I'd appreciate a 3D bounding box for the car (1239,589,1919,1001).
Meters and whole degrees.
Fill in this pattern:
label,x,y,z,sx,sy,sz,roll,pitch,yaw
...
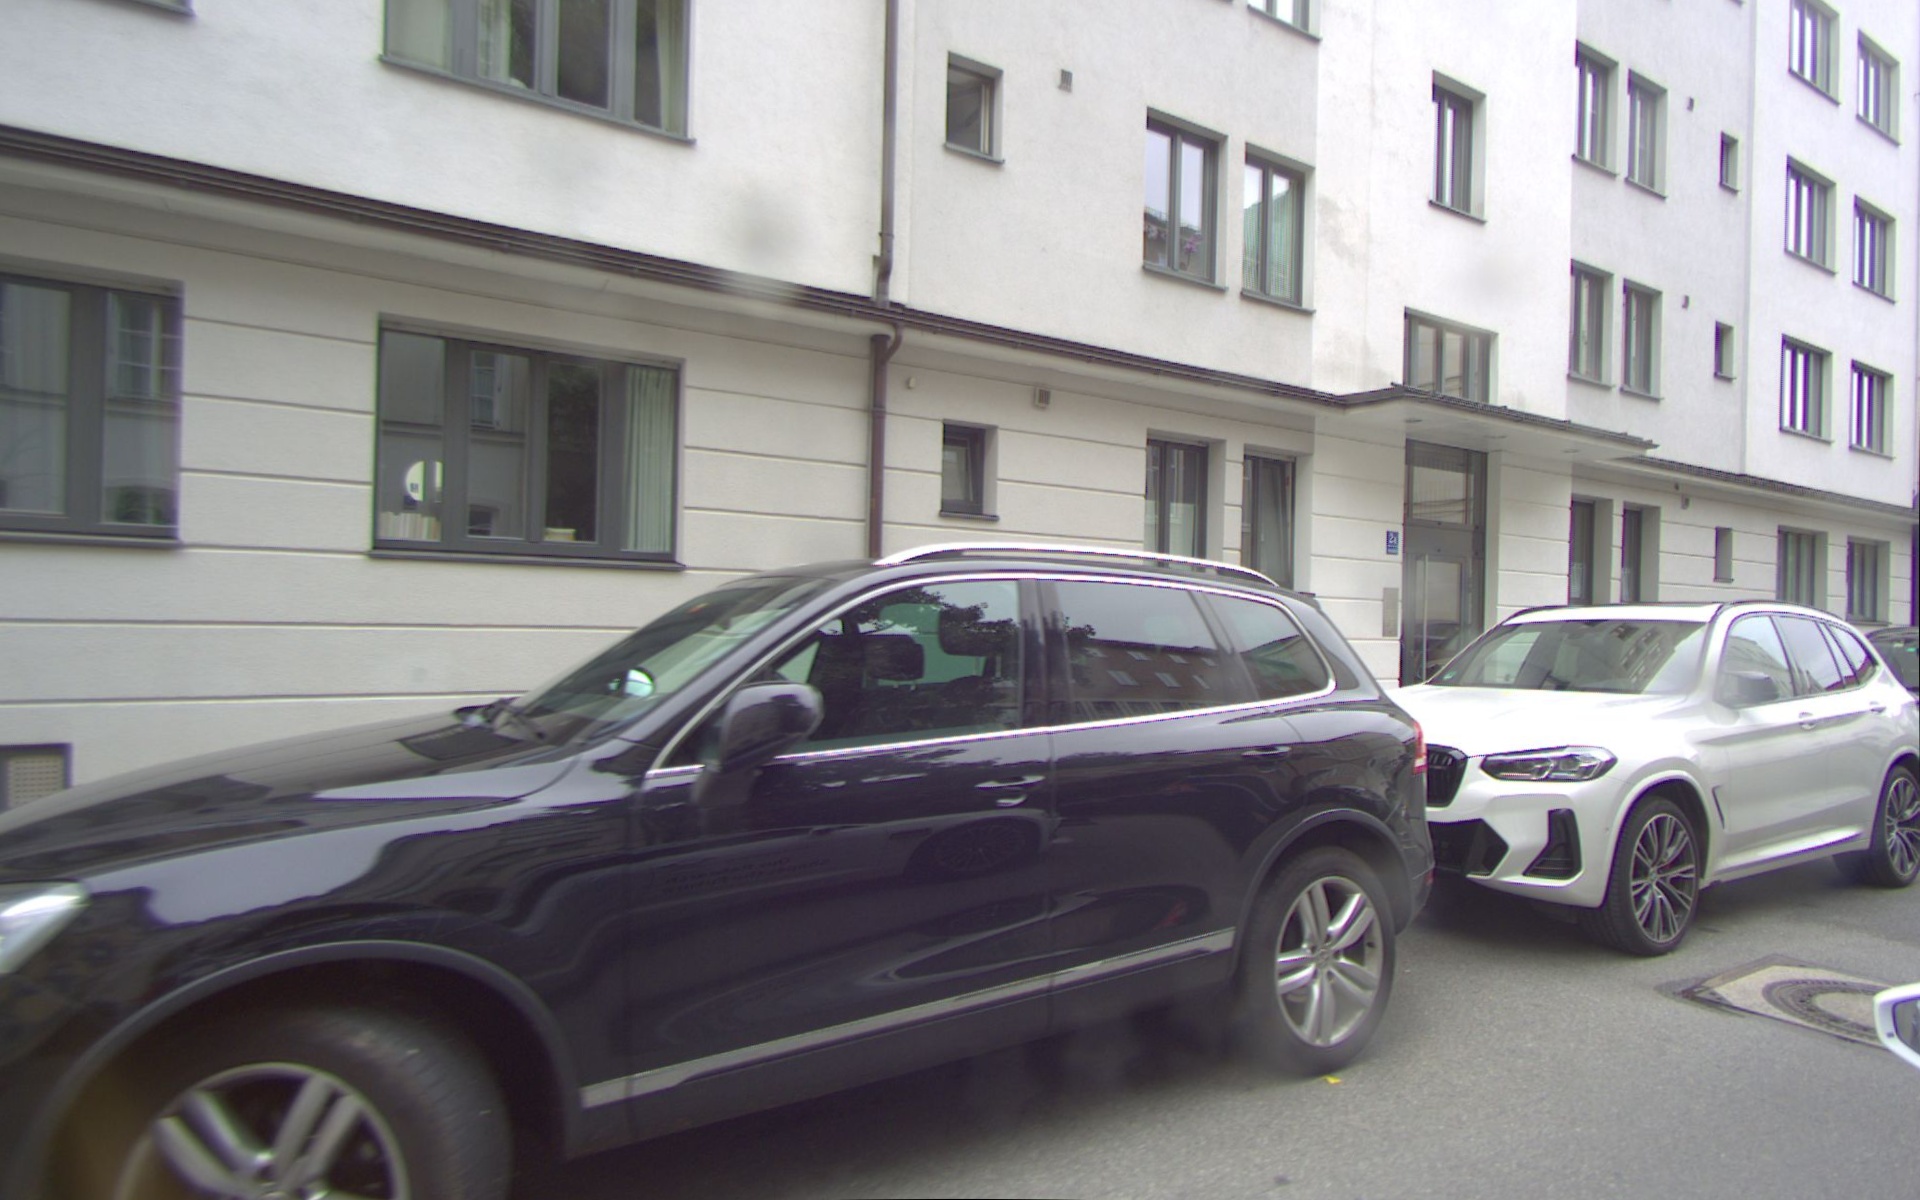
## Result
label,x,y,z,sx,sy,sz,roll,pitch,yaw
car,4.011,0.849,6.076,4.537,1.680,1.863,1,-2,-31

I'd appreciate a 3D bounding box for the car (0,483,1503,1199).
label,x,y,z,sx,sy,sz,roll,pitch,yaw
car,-0.377,0.716,3.407,4.467,1.710,1.863,1,-2,-31

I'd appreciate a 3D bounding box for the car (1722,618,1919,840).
label,x,y,z,sx,sy,sz,roll,pitch,yaw
car,8.984,1.014,9.095,4.540,1.680,1.862,1,-2,-33
